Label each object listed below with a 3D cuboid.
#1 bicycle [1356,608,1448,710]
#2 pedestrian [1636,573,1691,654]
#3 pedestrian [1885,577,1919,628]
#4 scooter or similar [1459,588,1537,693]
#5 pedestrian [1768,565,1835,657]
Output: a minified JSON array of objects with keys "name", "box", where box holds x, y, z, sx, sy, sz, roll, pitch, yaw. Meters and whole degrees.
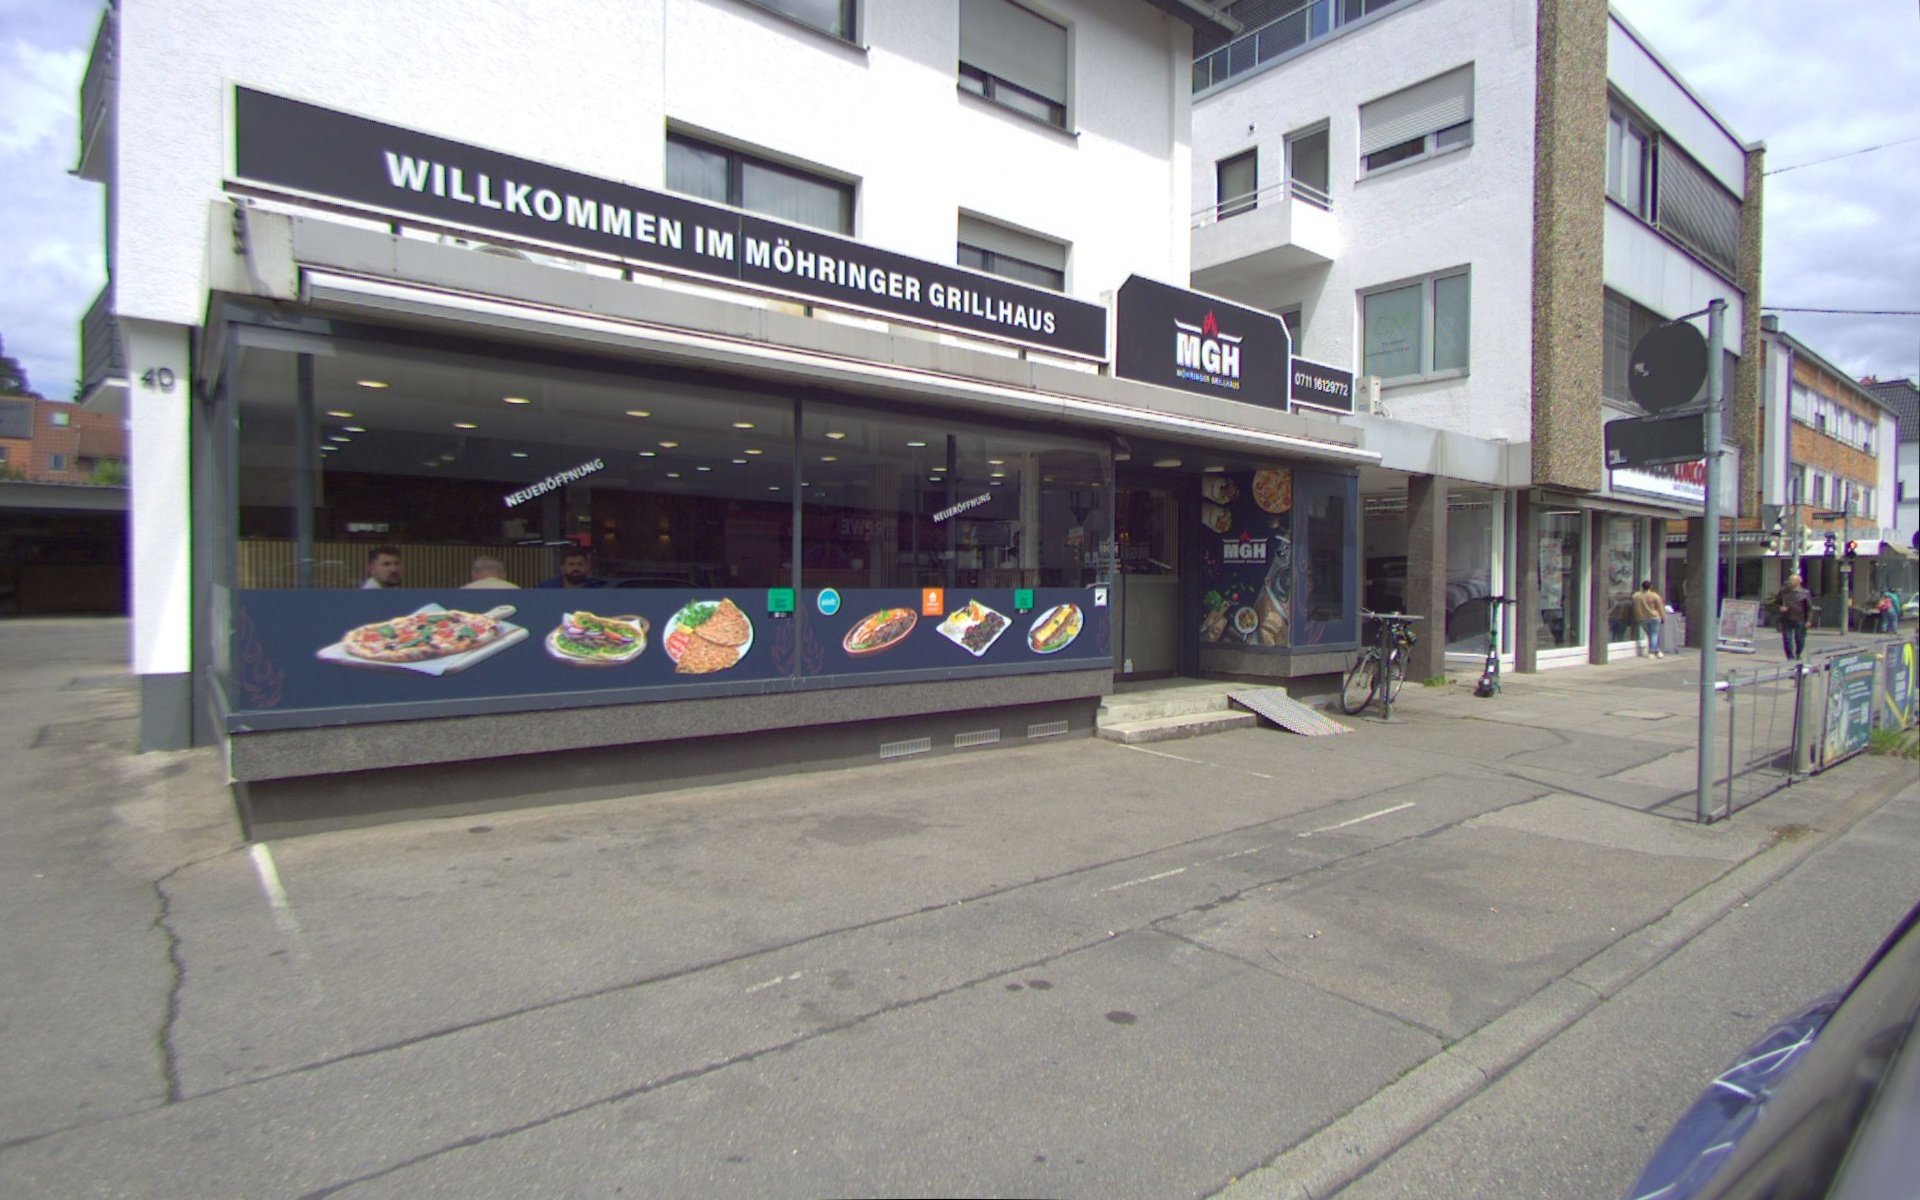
[{"name":"bicycle","box":[5.060,0.638,11.547,0.474,1.040,1.611,2,2,41]},{"name":"pedestrian","box":[13.609,0.240,19.582,0.707,1.517,0.681,0,2,-39]},{"name":"pedestrian","box":[29.651,0.077,31.725,0.804,1.544,0.779,0,2,-37]},{"name":"scooter or similar","box":[7.079,0.496,13.295,0.686,1.283,1.169,2,2,38]},{"name":"pedestrian","box":[16.063,0.193,19.328,0.793,1.691,0.797,0,2,-40]}]
